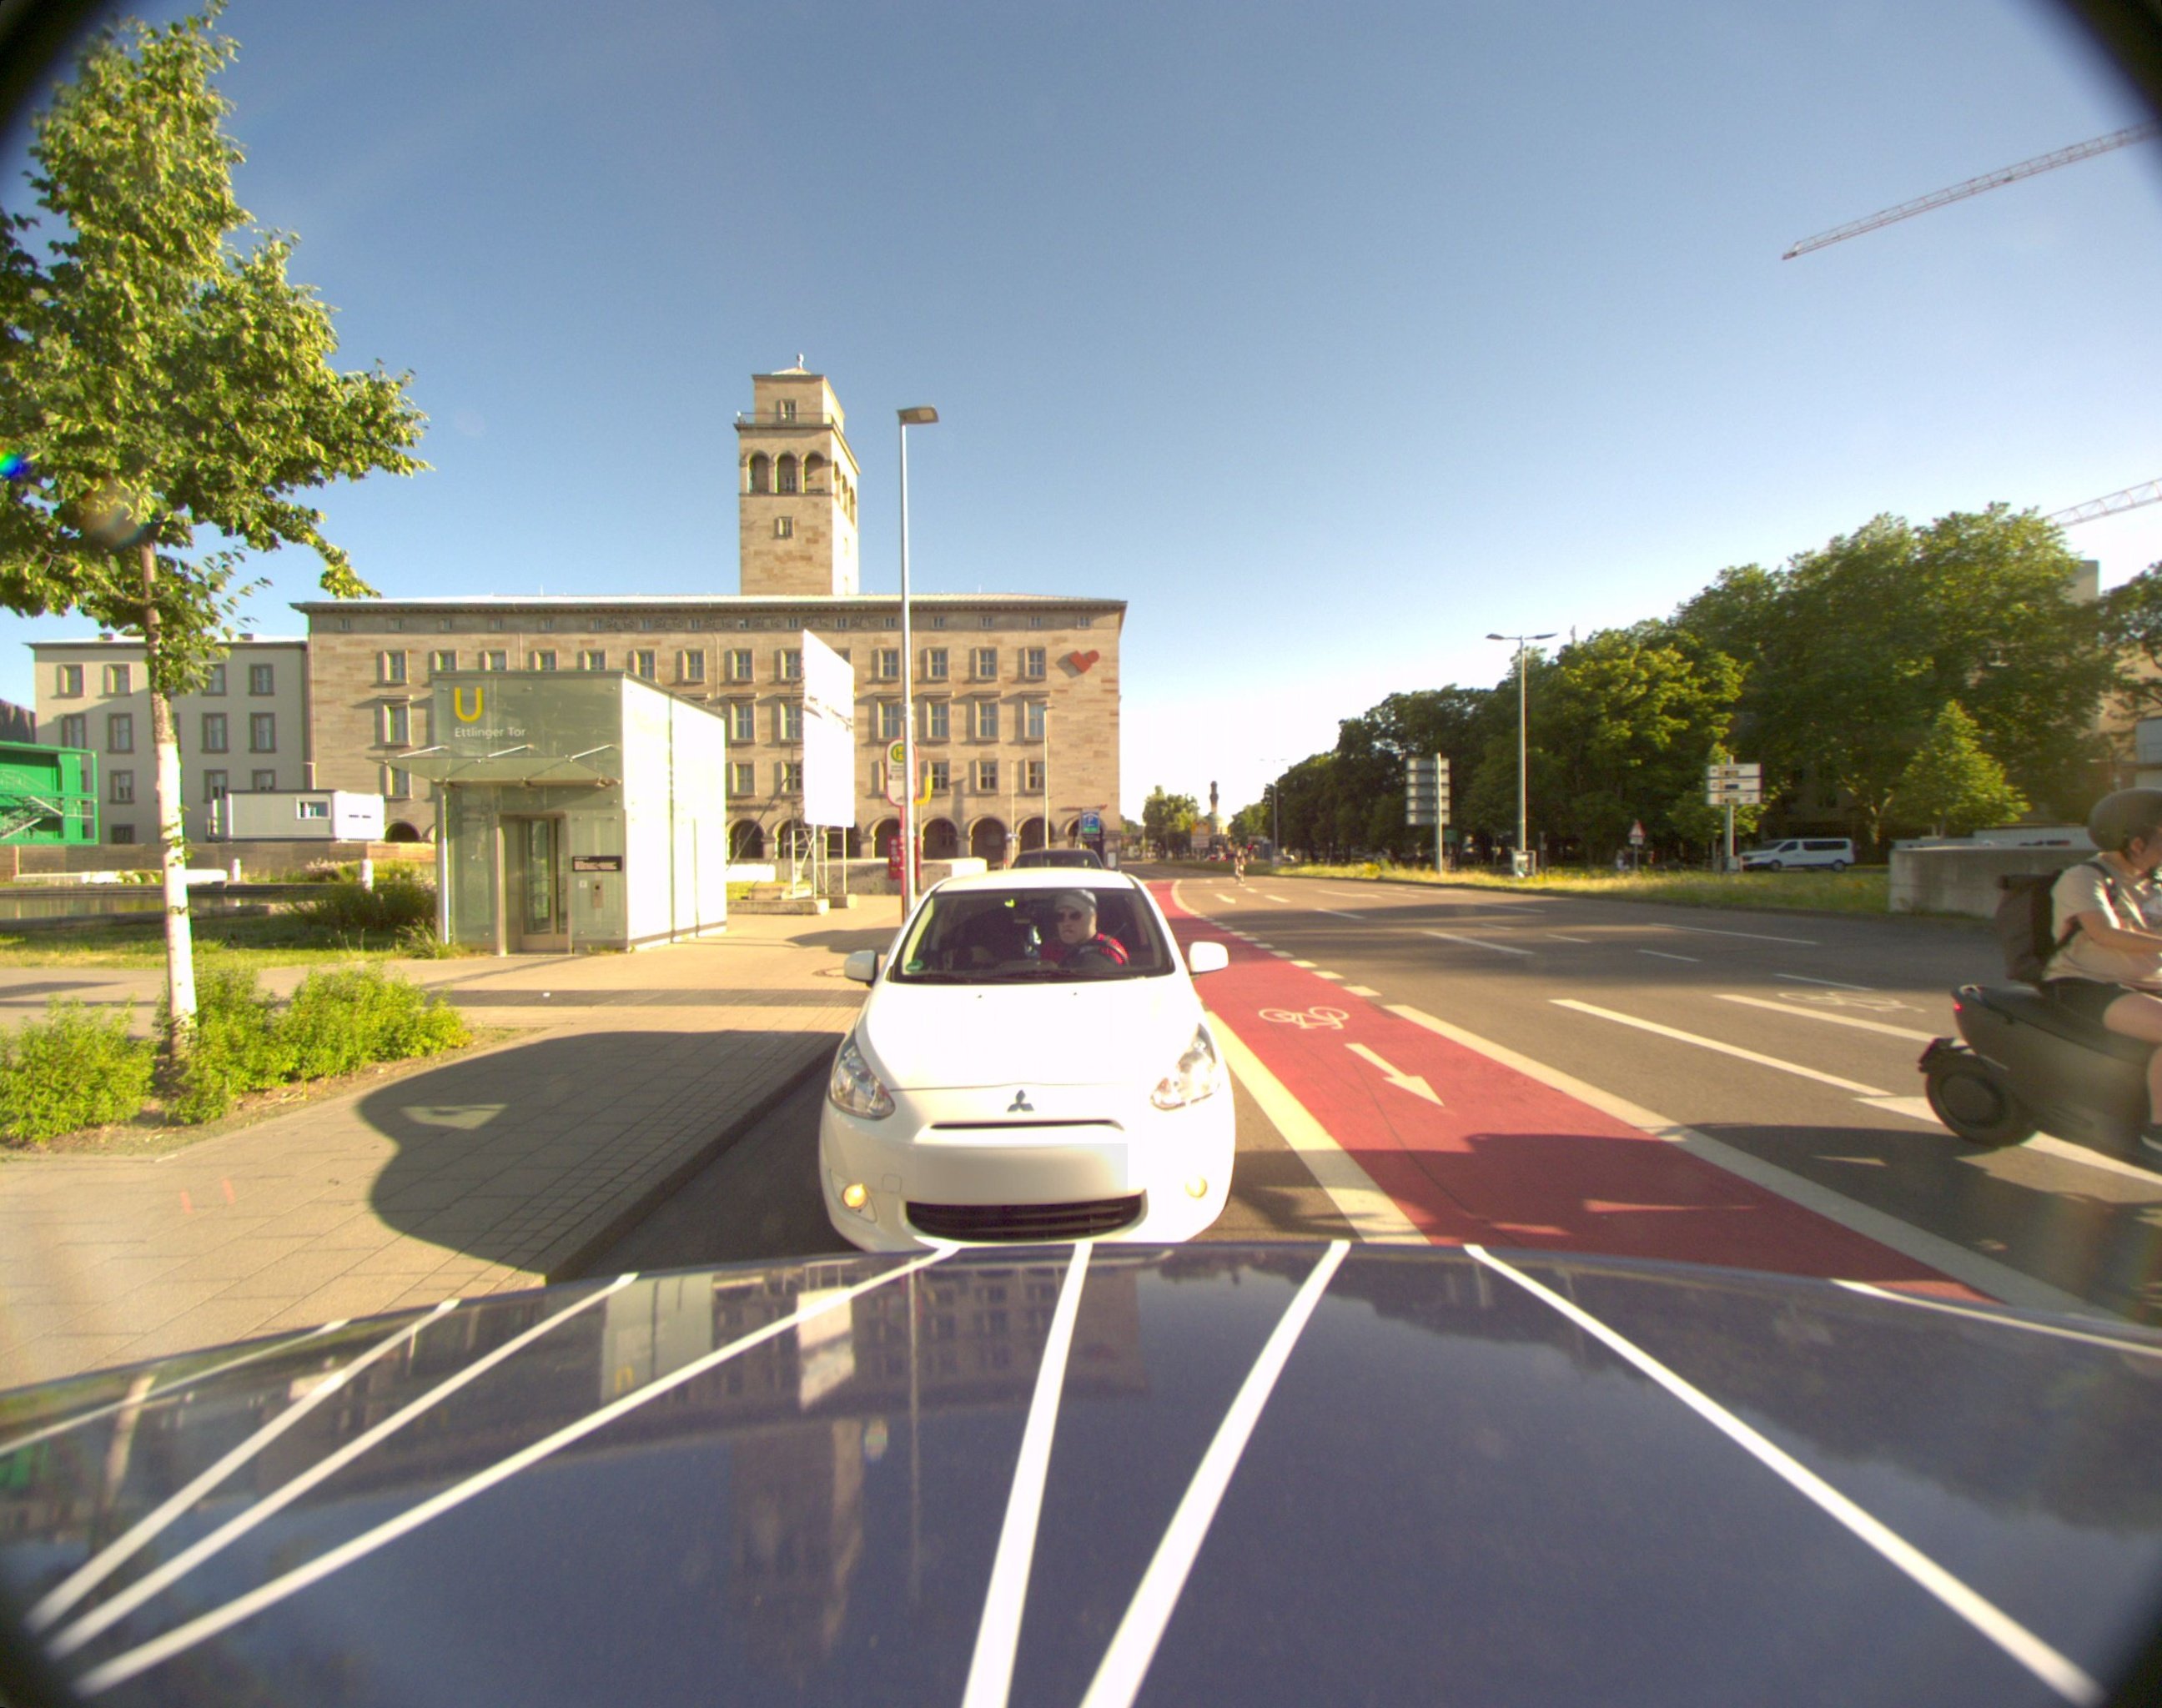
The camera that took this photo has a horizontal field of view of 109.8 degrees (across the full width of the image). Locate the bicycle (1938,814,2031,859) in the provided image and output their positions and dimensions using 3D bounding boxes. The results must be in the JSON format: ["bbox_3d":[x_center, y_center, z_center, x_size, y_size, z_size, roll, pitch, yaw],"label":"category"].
[{"bbox_3d":[24.119,-0.454,20.329,0.497,1.148,1.650,-2,1,-1],"label":"bicycle"}]

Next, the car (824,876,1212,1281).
[{"bbox_3d":[-0.228,0.953,4.840,1.496,1.477,3.604,-2,0,1],"label":"car"}]

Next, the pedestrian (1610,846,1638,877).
[{"bbox_3d":[33.343,0.458,46.658,0.989,1.821,1.019,-2,1,-1],"label":"pedestrian"}]

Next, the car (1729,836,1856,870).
[{"bbox_3d":[42.141,-0.063,45.109,5.516,1.924,2.065,-1,1,2],"label":"car"}]

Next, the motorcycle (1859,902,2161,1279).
[{"bbox_3d":[4.289,0.897,2.886,0.724,1.286,1.884,-2,0,1],"label":"motorcycle"}]

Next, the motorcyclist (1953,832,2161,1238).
[{"bbox_3d":[4.281,0.653,2.939,0.727,1.466,0.917,-2,0,1],"label":"motorcyclist"}]

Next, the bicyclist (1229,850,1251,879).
[{"bbox_3d":[7.689,0.487,36.667,0.854,1.340,0.829,-2,1,1],"label":"bicyclist"}]

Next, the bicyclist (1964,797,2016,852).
[{"bbox_3d":[24.105,-0.777,20.161,0.497,1.429,0.713,-2,1,-1],"label":"bicyclist"}]

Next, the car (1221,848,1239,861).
[{"bbox_3d":[21.603,0.101,110.211,1.819,1.817,3.999,-2,1,1],"label":"car"}]

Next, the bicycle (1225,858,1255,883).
[{"bbox_3d":[7.698,0.777,36.987,0.854,1.109,2.808,-2,0,1],"label":"bicycle"}]

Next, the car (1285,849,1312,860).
[{"bbox_3d":[39.799,0.012,139.140,4.579,1.827,1.879,-2,1,8],"label":"car"}]

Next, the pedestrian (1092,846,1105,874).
[{"bbox_3d":[1.612,0.551,69.992,1.122,2.524,1.055,-2,1,1],"label":"pedestrian"}]

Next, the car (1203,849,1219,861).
[{"bbox_3d":[20.598,0.097,120.440,1.747,1.778,3.947,-2,1,1],"label":"car"}]

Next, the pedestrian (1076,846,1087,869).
[{"bbox_3d":[0.030,0.400,88.394,1.122,2.524,1.055,-2,1,1],"label":"pedestrian"}]

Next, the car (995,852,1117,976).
[{"bbox_3d":[-0.367,0.837,12.519,1.642,1.653,3.849,-2,0,-1],"label":"car"}]
